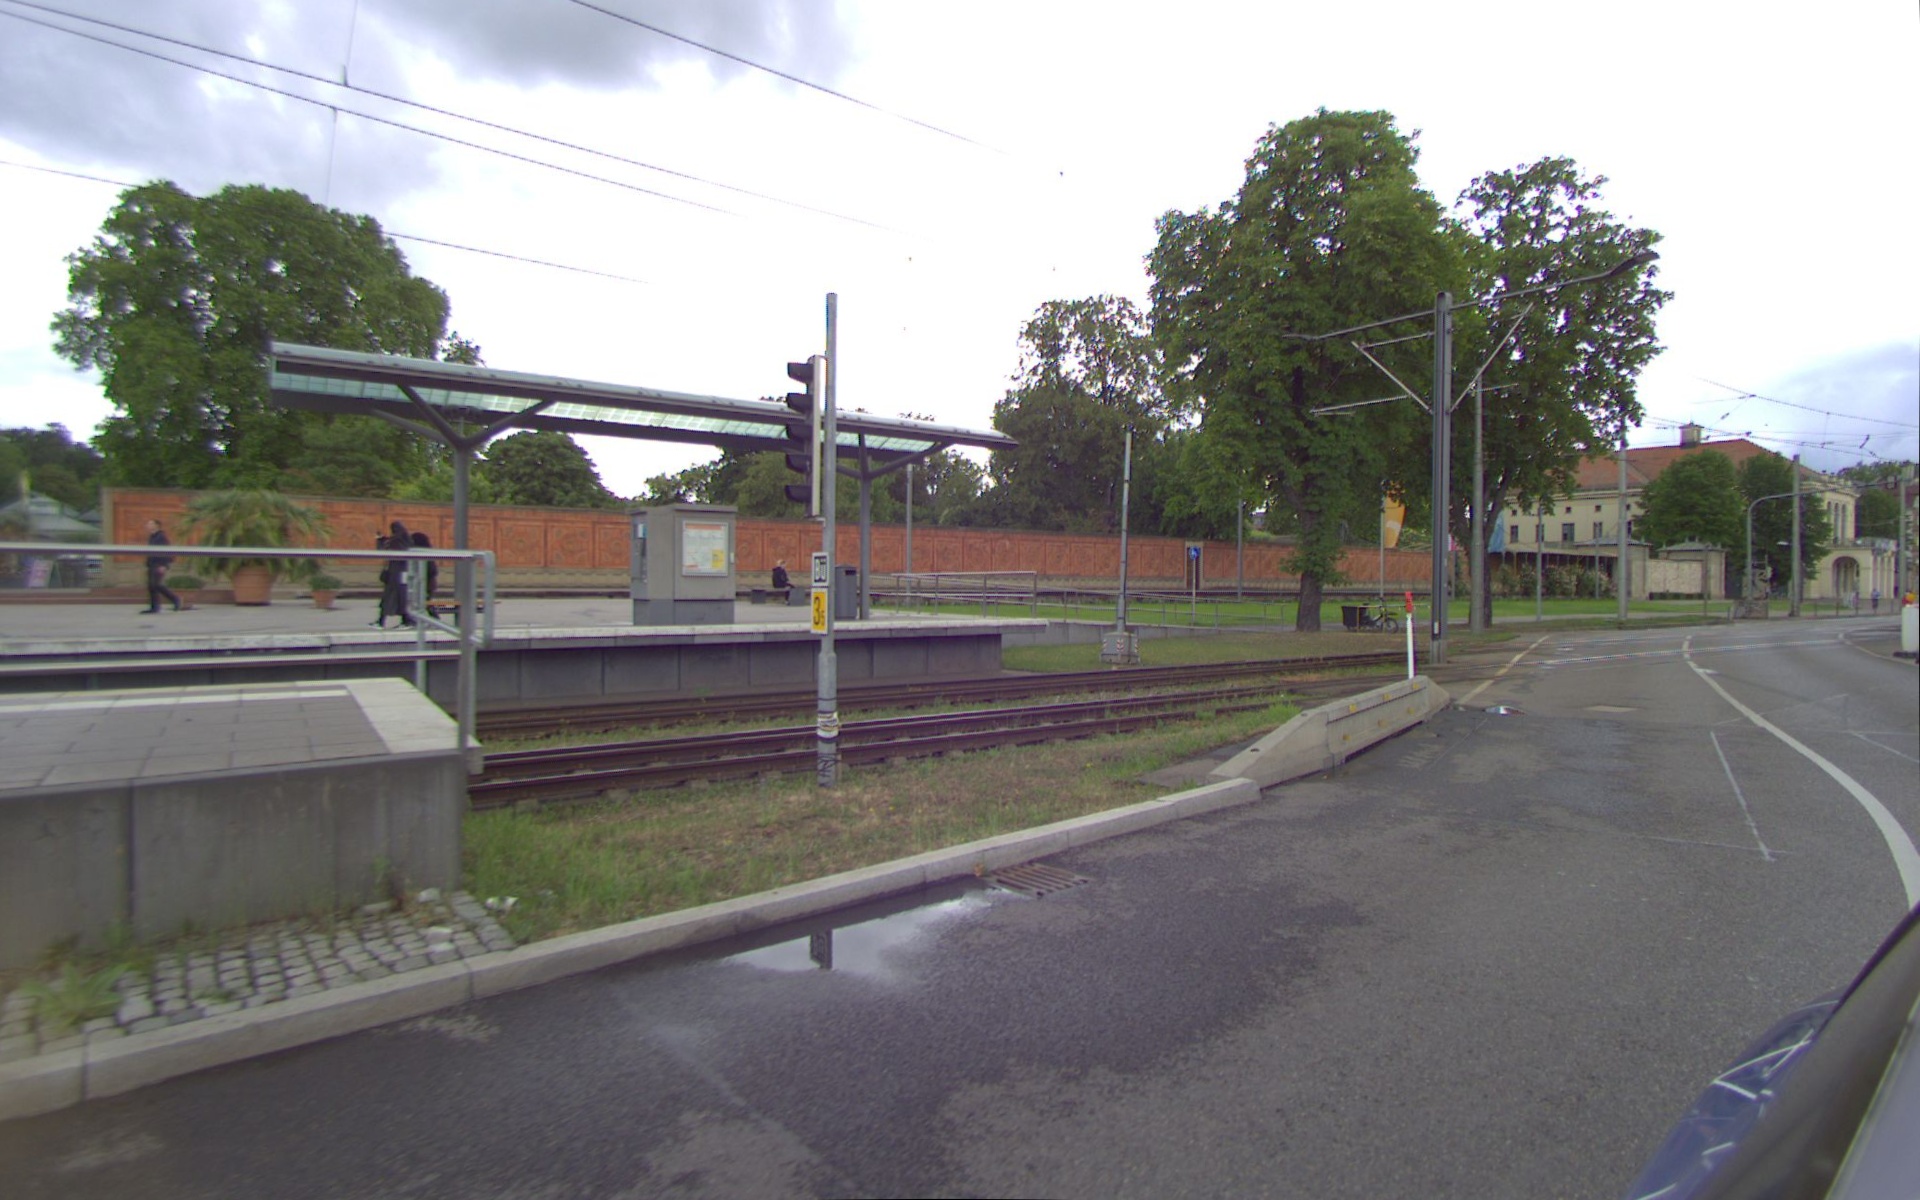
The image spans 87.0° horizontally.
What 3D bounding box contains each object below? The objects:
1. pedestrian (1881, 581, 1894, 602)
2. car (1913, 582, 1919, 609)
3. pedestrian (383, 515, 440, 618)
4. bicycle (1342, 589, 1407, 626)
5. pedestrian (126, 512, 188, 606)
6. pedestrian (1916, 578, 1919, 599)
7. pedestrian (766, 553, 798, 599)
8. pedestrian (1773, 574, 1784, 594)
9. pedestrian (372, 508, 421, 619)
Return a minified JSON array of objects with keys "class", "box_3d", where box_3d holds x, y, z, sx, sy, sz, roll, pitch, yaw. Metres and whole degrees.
[{"class":"pedestrian","box_3d":[78.569,-0.705,85.732,0.919,1.790,0.673,-1,1,-36]},{"class":"car","box_3d":[54.686,-0.276,56.305,4.043,1.460,1.681,-1,-1,-37]},{"class":"pedestrian","box_3d":[-8.886,-0.527,16.416,0.756,1.621,0.743,-1,-1,-27]},{"class":"bicycle","box_3d":[13.877,0.235,33.945,0.726,1.172,2.000,-1,2,-31]},{"class":"pedestrian","box_3d":[-16.353,-0.823,20.618,0.936,1.861,0.548,-1,-1,-42]},{"class":"pedestrian","box_3d":[79.477,-0.943,83.541,0.919,1.790,0.673,-1,1,-36]},{"class":"pedestrian","box_3d":[-4.878,-0.655,27.767,0.658,1.216,0.548,-1,-1,-42]},{"class":"pedestrian","box_3d":[76.069,-1.508,94.049,0.793,1.814,0.597,-1,1,-36]},{"class":"pedestrian","box_3d":[-8.721,-0.563,15.671,0.615,1.681,0.488,-1,-1,-27]}]
